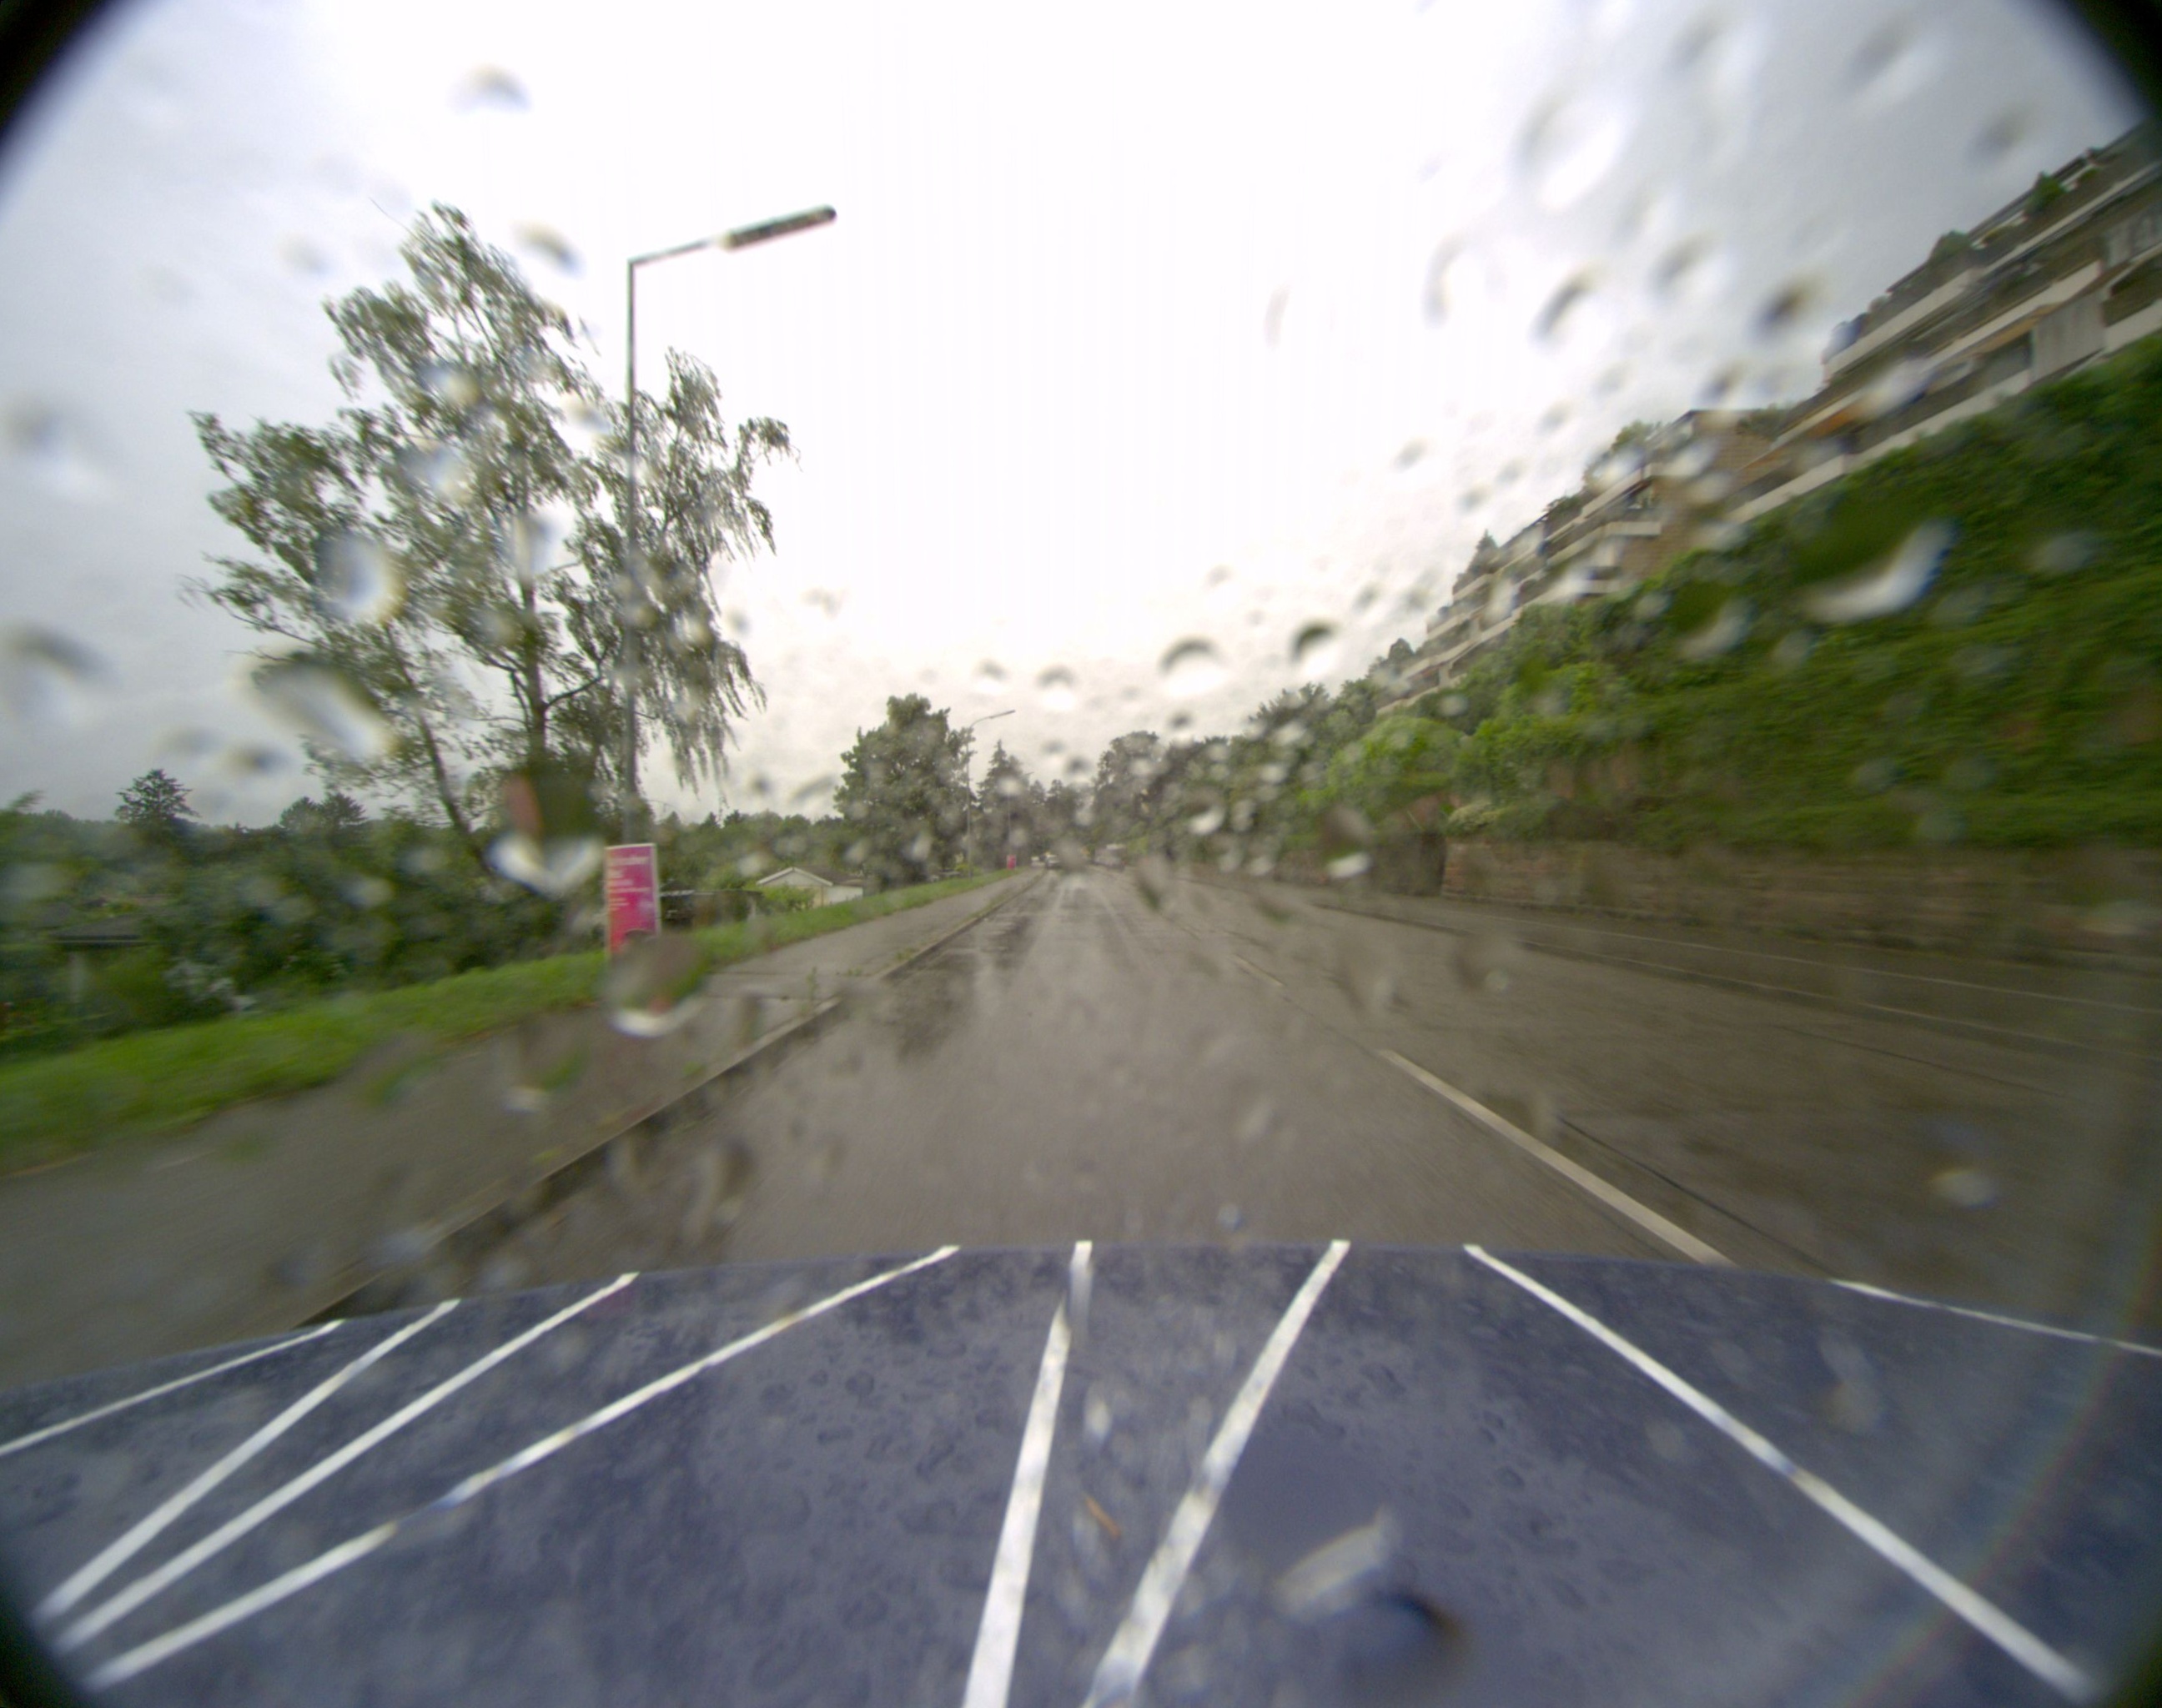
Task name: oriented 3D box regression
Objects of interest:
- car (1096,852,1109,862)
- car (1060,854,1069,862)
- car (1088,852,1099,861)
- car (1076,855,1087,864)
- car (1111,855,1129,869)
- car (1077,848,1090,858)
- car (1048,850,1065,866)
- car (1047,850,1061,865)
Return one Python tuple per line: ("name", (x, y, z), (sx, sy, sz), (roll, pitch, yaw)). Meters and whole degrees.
("car", (3.604, 0.433, 126.883), (1.853, 1.583, 3.704), (-2, 0, -1))
("car", (-3.741, 0.886, 169.749), (1.854, 1.583, 5.144), (-2, 0, -4))
("car", (2.367, 0.463, 143.089), (1.853, 1.583, 3.704), (-2, 0, -1))
("car", (0.020, 0.955, 136.495), (1.853, 1.583, 3.704), (-2, 0, -1))
("car", (4.060, 0.810, 79.552), (1.597, 1.433, 3.704), (1, 0, -1))
("car", (0.543, -0.156, 165.056), (1.855, 2.137, 3.701), (-2, 0, -12))
("car", (-3.160, 0.592, 98.936), (1.999, 2.001, 4.000), (-1, -1, 0))
("car", (-4.220, 0.573, 120.192), (1.999, 2.168, 4.000), (-1, -1, 0))
